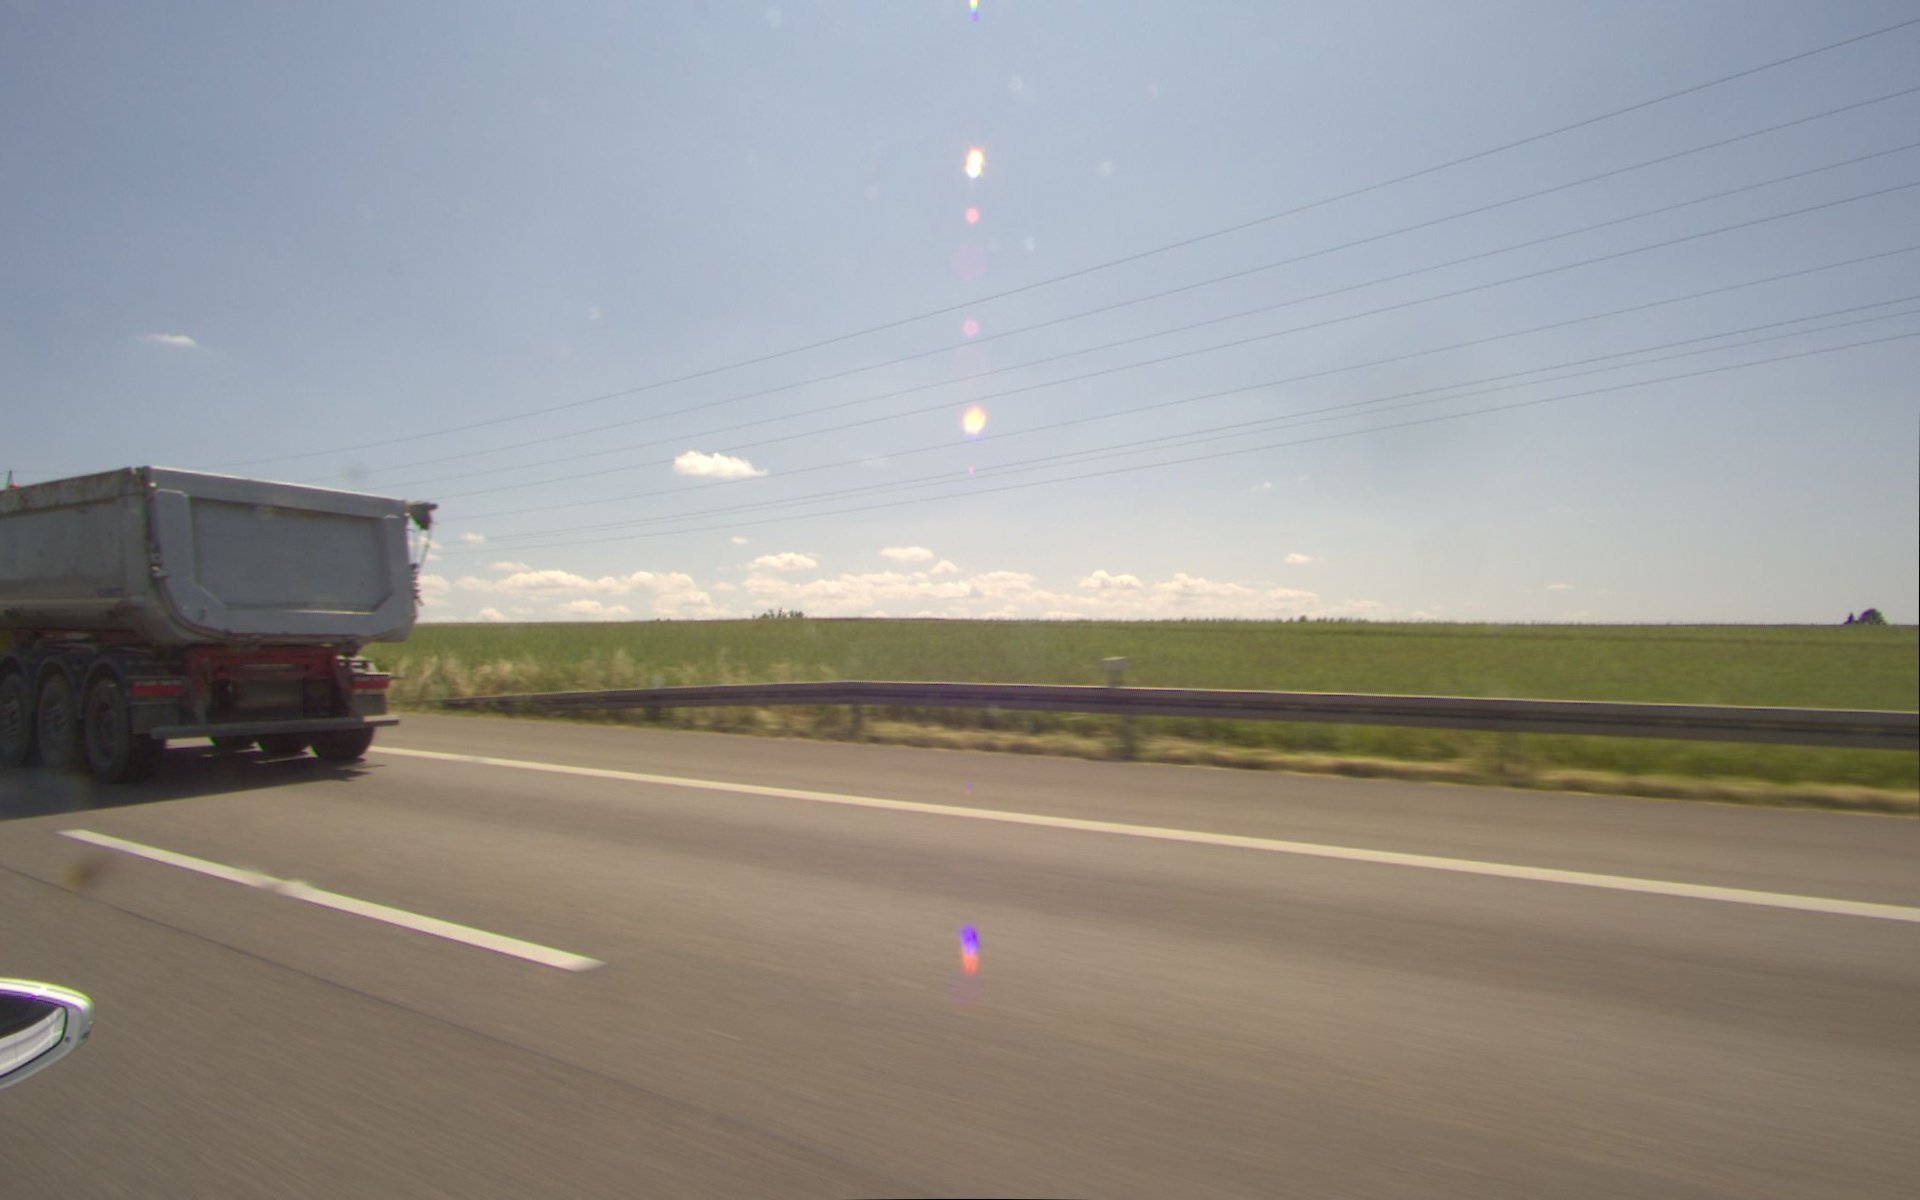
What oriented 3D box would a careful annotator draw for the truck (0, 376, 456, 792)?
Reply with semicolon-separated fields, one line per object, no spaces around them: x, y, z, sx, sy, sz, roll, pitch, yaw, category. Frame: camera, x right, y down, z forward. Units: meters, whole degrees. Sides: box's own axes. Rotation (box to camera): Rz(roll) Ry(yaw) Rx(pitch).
-11.900;-0.002;13.581;12.577;3.772;2.861;-1;-1;31;truck
